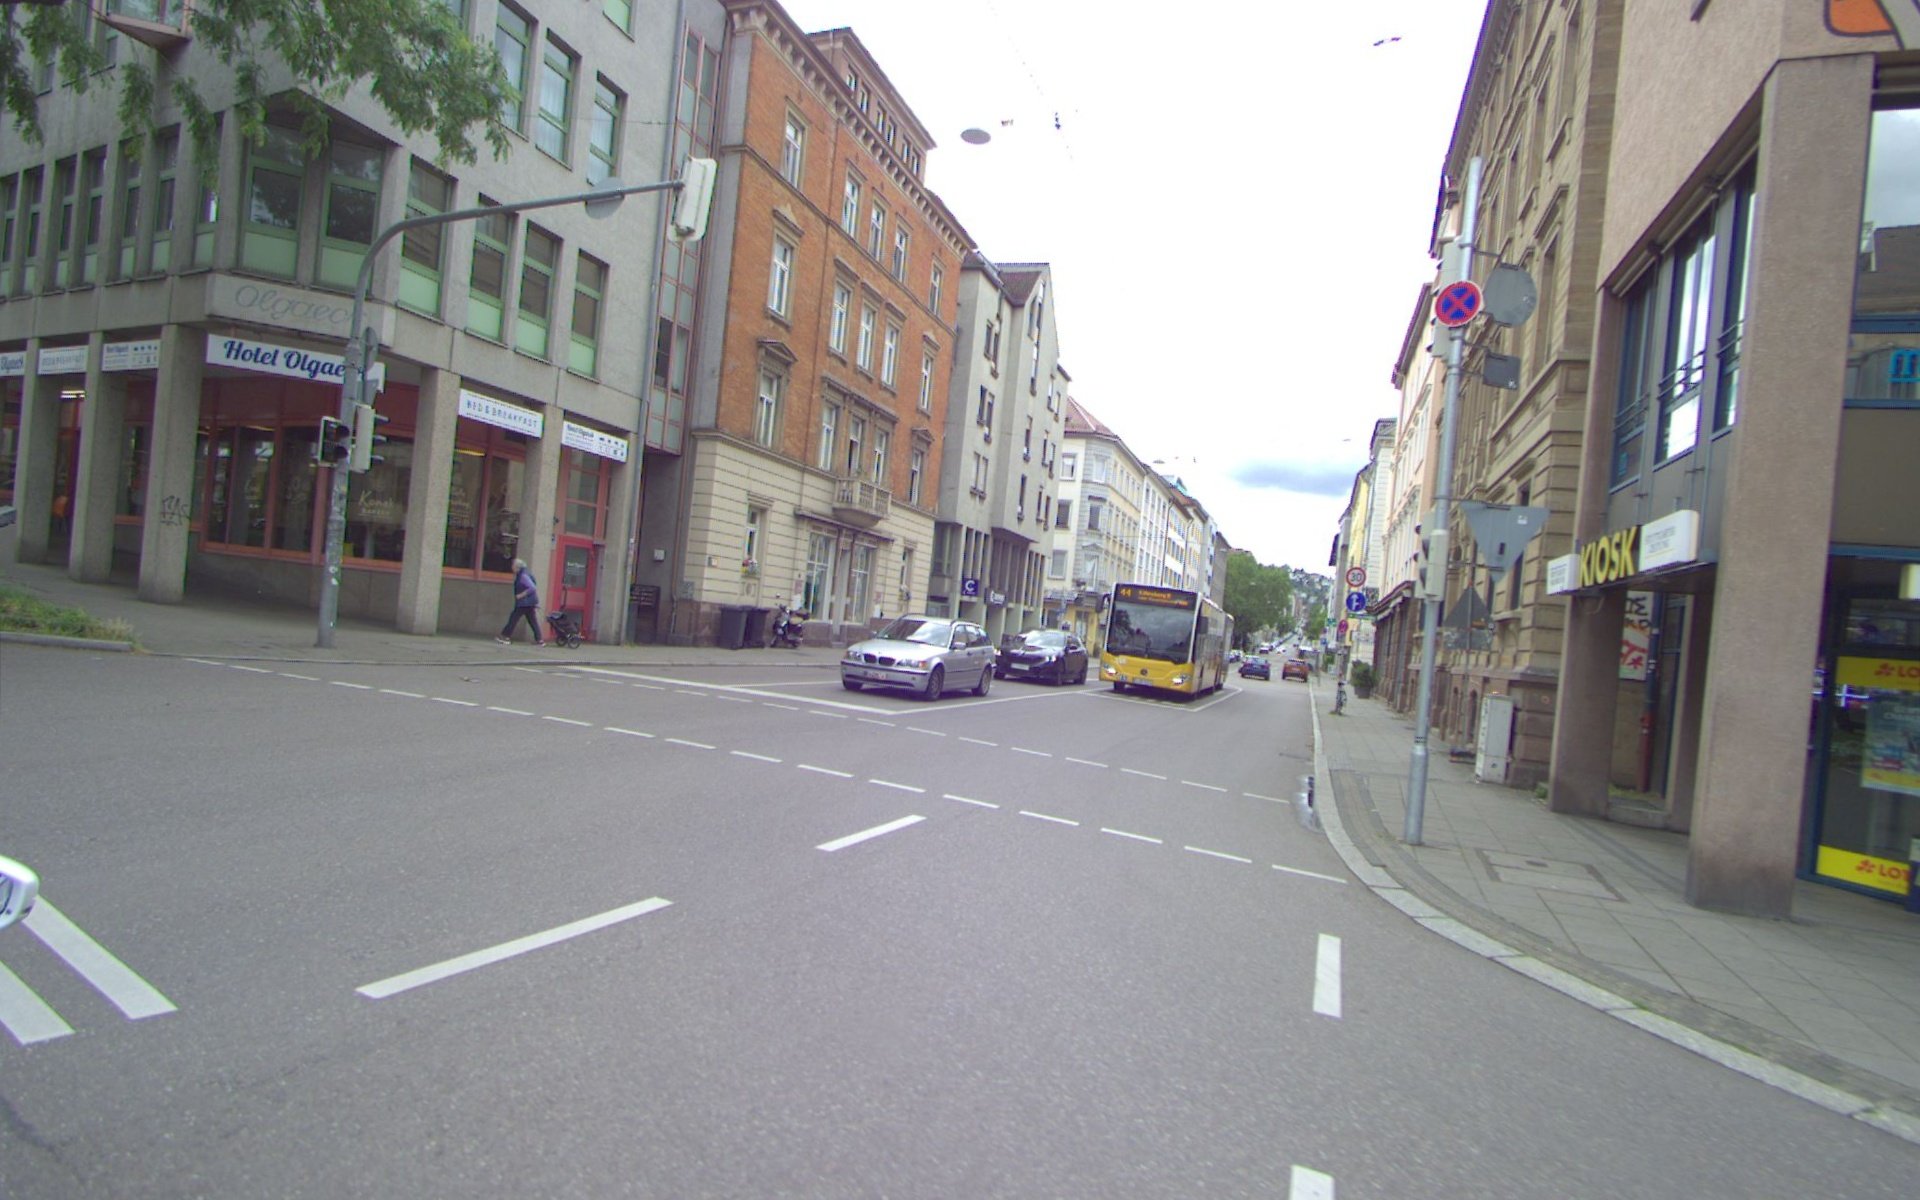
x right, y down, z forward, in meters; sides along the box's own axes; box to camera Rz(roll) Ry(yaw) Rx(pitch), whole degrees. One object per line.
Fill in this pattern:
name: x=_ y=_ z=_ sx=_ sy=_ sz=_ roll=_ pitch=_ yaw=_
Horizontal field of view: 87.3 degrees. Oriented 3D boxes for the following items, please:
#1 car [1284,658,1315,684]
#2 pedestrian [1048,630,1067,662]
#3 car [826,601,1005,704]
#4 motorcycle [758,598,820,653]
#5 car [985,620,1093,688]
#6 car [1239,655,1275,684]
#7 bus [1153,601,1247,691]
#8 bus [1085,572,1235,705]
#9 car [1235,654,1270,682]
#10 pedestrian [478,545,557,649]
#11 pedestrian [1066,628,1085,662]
car: x=24.522 y=5.130 z=72.595 sx=1.624 sy=1.584 sz=3.661 roll=7 pitch=-1 yaw=23
pedestrian: x=5.543 y=2.620 z=57.053 sx=0.712 sy=1.715 sz=0.679 roll=7 pitch=-2 yaw=22
car: x=-0.672 y=0.969 z=18.470 sx=1.819 sy=1.445 sz=4.163 roll=7 pitch=-1 yaw=18
motorcycle: x=-4.730 y=0.690 z=28.043 sx=1.131 sy=1.312 sz=2.658 roll=7 pitch=-1 yaw=0
car: x=2.309 y=1.518 z=28.158 sx=1.962 sy=1.507 sz=4.272 roll=7 pitch=-1 yaw=18
car: x=19.257 y=4.489 z=65.141 sx=1.624 sy=1.584 sz=3.661 roll=7 pitch=-1 yaw=23
bus: x=10.530 y=2.039 z=43.140 sx=2.665 sy=3.073 sz=11.360 roll=7 pitch=-1 yaw=18
bus: x=6.644 y=1.314 z=31.549 sx=2.821 sy=3.079 sz=11.597 roll=7 pitch=-1 yaw=19
car: x=22.274 y=5.191 z=76.514 sx=1.820 sy=1.788 sz=4.161 roll=7 pitch=-1 yaw=23
pedestrian: x=-8.073 y=-0.061 z=18.335 sx=1.112 sy=1.733 sz=0.851 roll=7 pitch=0 yaw=-26
pedestrian: x=6.305 y=2.455 z=54.911 sx=0.712 sy=1.716 sz=0.679 roll=7 pitch=0 yaw=22
